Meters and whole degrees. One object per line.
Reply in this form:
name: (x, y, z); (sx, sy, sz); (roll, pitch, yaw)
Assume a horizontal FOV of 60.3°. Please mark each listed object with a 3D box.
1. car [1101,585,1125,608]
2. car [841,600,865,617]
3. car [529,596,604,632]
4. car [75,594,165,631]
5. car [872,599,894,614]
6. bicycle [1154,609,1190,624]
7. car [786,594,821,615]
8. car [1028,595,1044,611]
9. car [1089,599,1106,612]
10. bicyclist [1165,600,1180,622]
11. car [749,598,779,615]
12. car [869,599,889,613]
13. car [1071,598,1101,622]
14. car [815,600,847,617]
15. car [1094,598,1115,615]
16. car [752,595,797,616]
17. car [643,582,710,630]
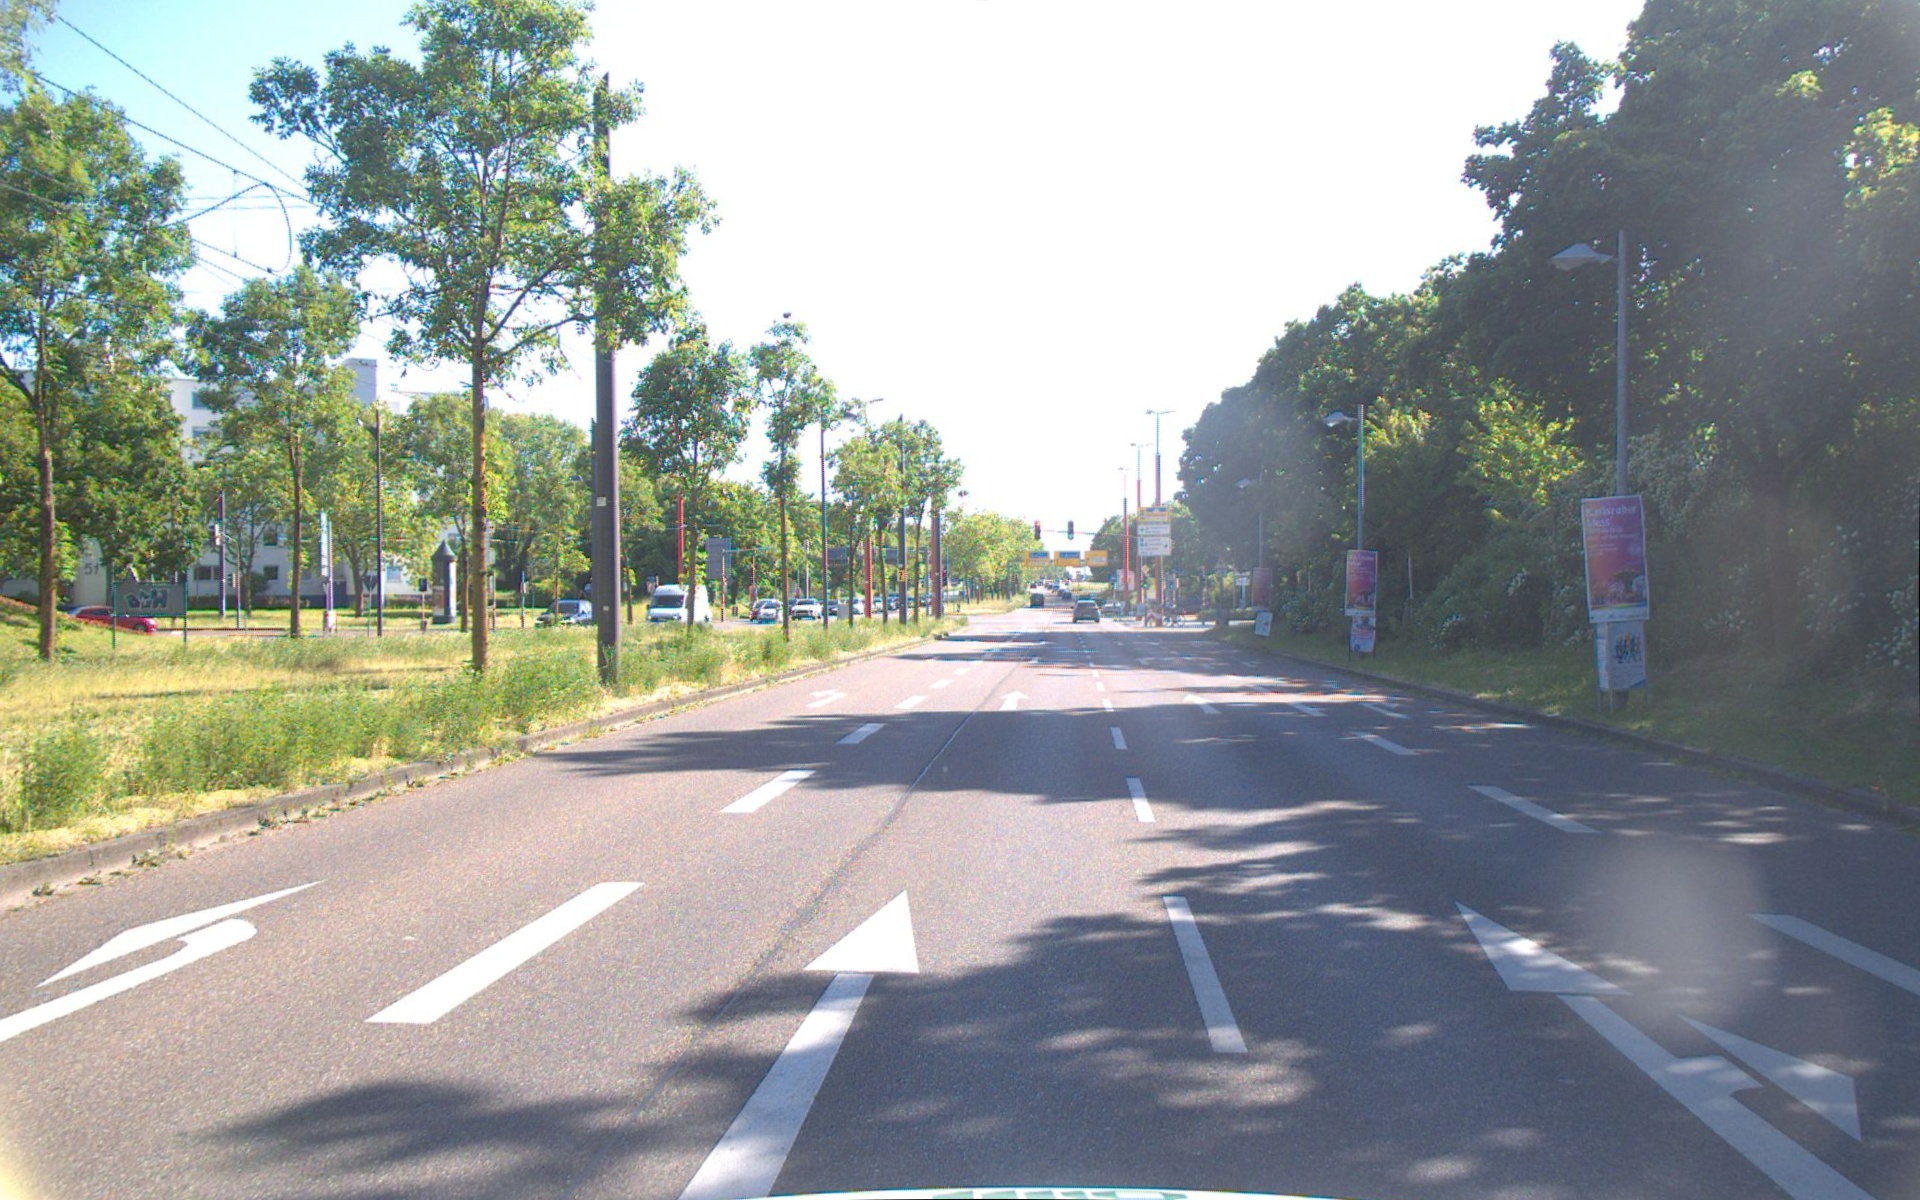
car: (13.292, -0.284, 143.844); (1.952, 1.920, 4.002); (-1, 0, 4)
car: (-10.263, 0.834, 158.594); (1.726, 1.636, 3.759); (-1, 0, 4)
car: (-18.533, 0.642, 78.112); (1.952, 1.612, 5.275); (1, 0, 3)
car: (-44.947, 0.674, 88.595); (4.211, 1.934, 1.982); (1, 0, -28)
car: (-8.691, 0.686, 186.929); (1.951, 1.622, 4.466); (-1, 0, 5)
bicycle: (13.194, 1.035, 102.838); (2.121, 0.894, 0.559); (1, 0, -8)
car: (-12.361, 0.353, 130.727); (1.854, 1.650, 4.660); (1, 0, 6)
car: (9.739, 0.366, 212.521); (1.952, 2.049, 4.000); (1, 0, 1)
car: (15.994, 0.626, 192.773); (1.952, 1.567, 4.002); (0, 0, 4)
bicyclist: (13.204, 0.662, 102.830); (0.726, 1.365, 0.706); (1, 0, -8)
car: (-15.399, 0.523, 130.277); (1.622, 1.320, 4.178); (1, 0, 3)
car: (-8.713, 0.681, 178.287); (1.668, 1.448, 4.645); (-1, 0, 3)
car: (8.487, 0.660, 111.564); (1.952, 1.523, 4.002); (0, 0, 4)
car: (-11.370, 0.761, 146.210); (1.951, 1.434, 4.993); (1, 0, 5)
car: (14.124, 0.638, 161.530); (1.952, 1.567, 4.002); (1, 0, 4)
car: (-13.201, 0.388, 118.072); (1.859, 1.422, 4.547); (1, 0, 11)
car: (-15.052, 0.339, 88.169); (1.997, 2.410, 6.883); (1, 0, 3)
